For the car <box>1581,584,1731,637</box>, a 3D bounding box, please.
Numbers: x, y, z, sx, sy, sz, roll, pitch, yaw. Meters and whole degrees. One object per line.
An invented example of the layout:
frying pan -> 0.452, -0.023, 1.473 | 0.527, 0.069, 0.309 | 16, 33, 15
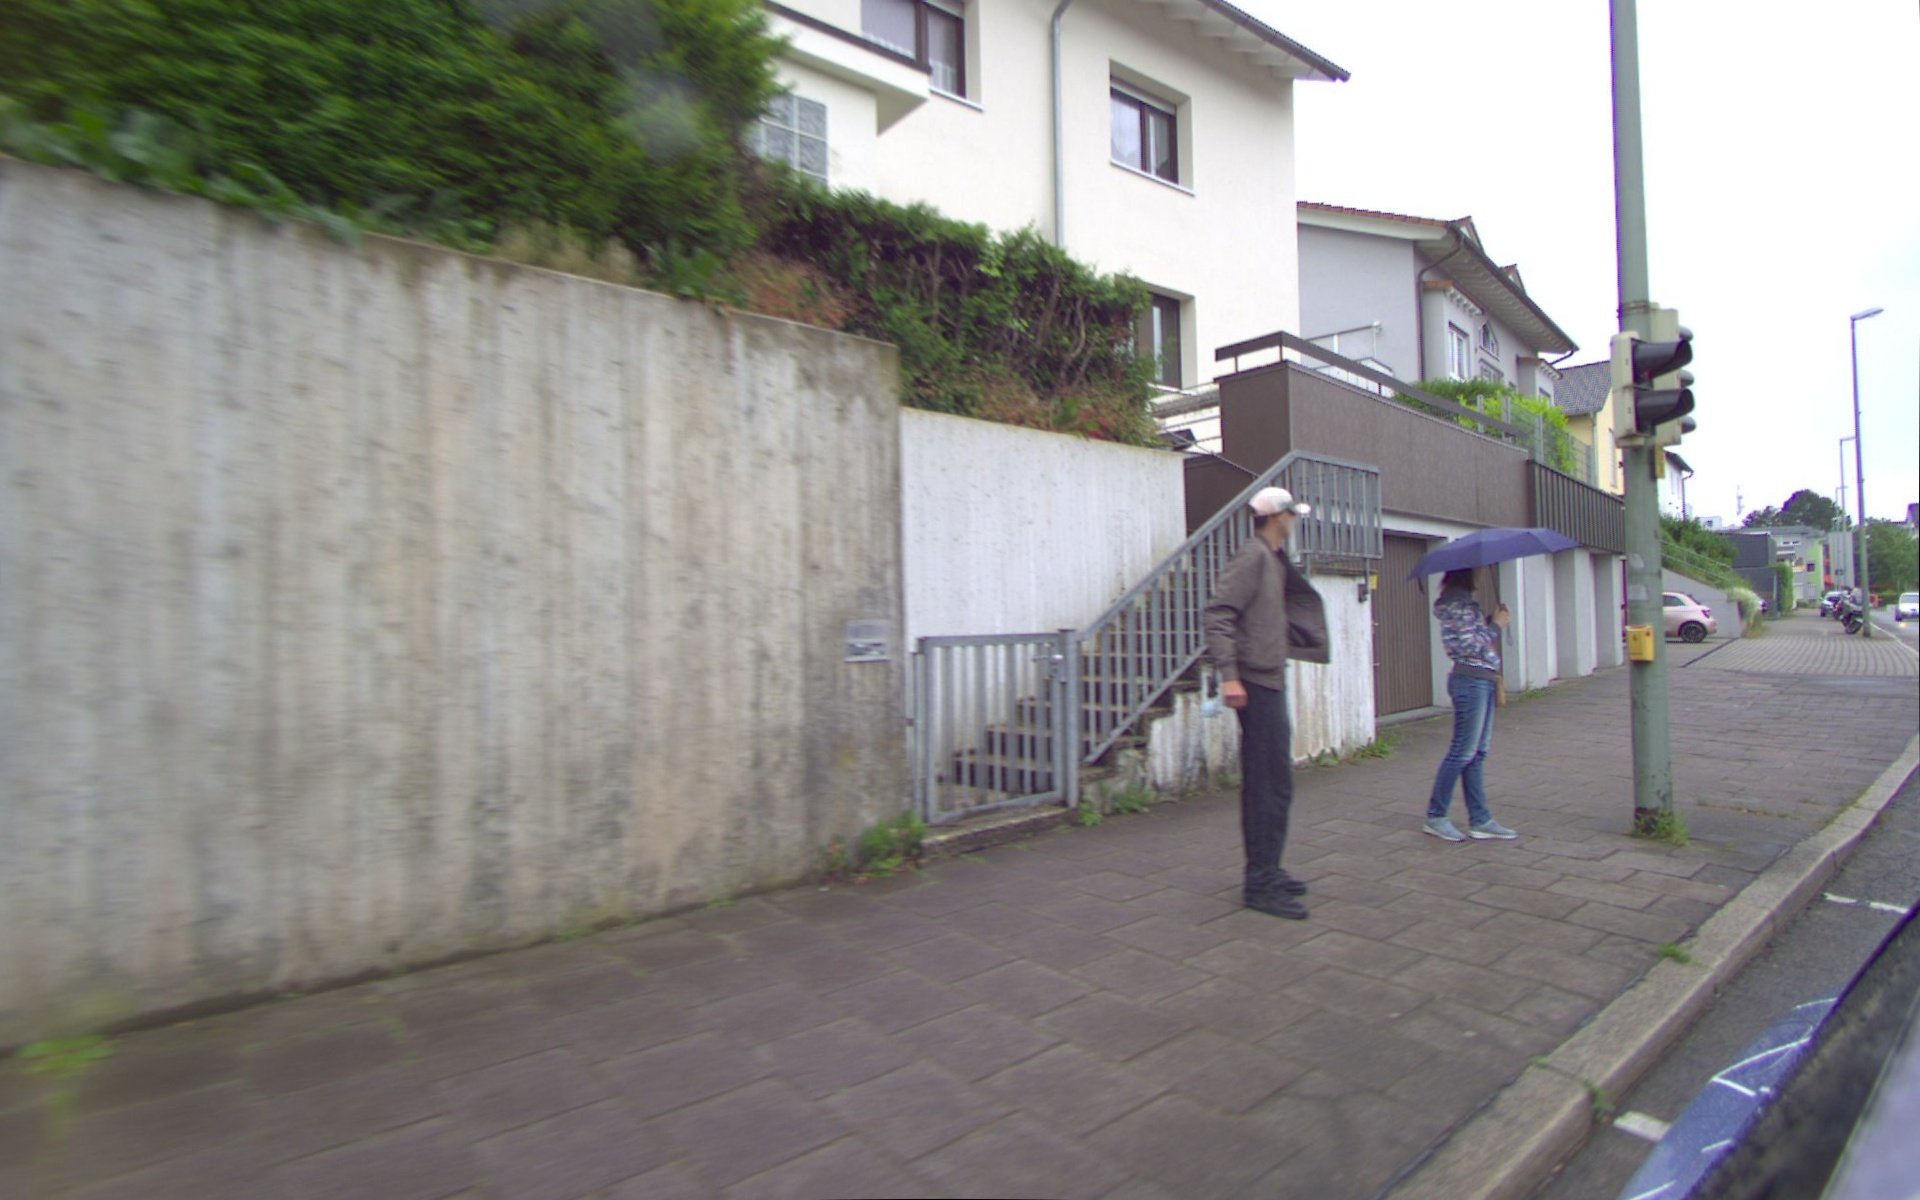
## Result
car -> 21.111, 0.330, 30.752 | 3.624, 1.504, 1.787 | -1, -1, 39

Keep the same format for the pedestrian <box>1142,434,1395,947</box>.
pedestrian -> 1.383, 0.359, 4.568 | 0.721, 2.039, 0.798 | 0, -1, -41

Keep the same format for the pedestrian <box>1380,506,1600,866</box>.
pedestrian -> 2.989, 0.420, 5.701 | 0.994, 1.803, 0.795 | 0, 1, -41

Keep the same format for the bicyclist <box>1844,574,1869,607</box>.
bicyclist -> 45.233, -0.462, 51.058 | 0.890, 1.663, 0.809 | 0, 0, -38

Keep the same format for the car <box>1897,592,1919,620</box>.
car -> 51.930, 0.354, 54.580 | 1.833, 1.500, 3.942 | 0, -1, 40

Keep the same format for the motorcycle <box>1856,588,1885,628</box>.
motorcycle -> 31.319, 0.263, 34.829 | 0.691, 1.341, 2.442 | 0, 0, 41

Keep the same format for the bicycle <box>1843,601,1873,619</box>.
bicycle -> 45.404, 0.502, 51.165 | 2.193, 0.837, 0.733 | 0, 0, -38

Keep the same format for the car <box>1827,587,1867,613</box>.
car -> 53.643, -0.007, 61.168 | 1.732, 1.508, 3.938 | 0, 0, 43

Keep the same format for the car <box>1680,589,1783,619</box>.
car -> 37.980, 0.186, 49.942 | 3.975, 1.421, 1.652 | 0, 0, 36
